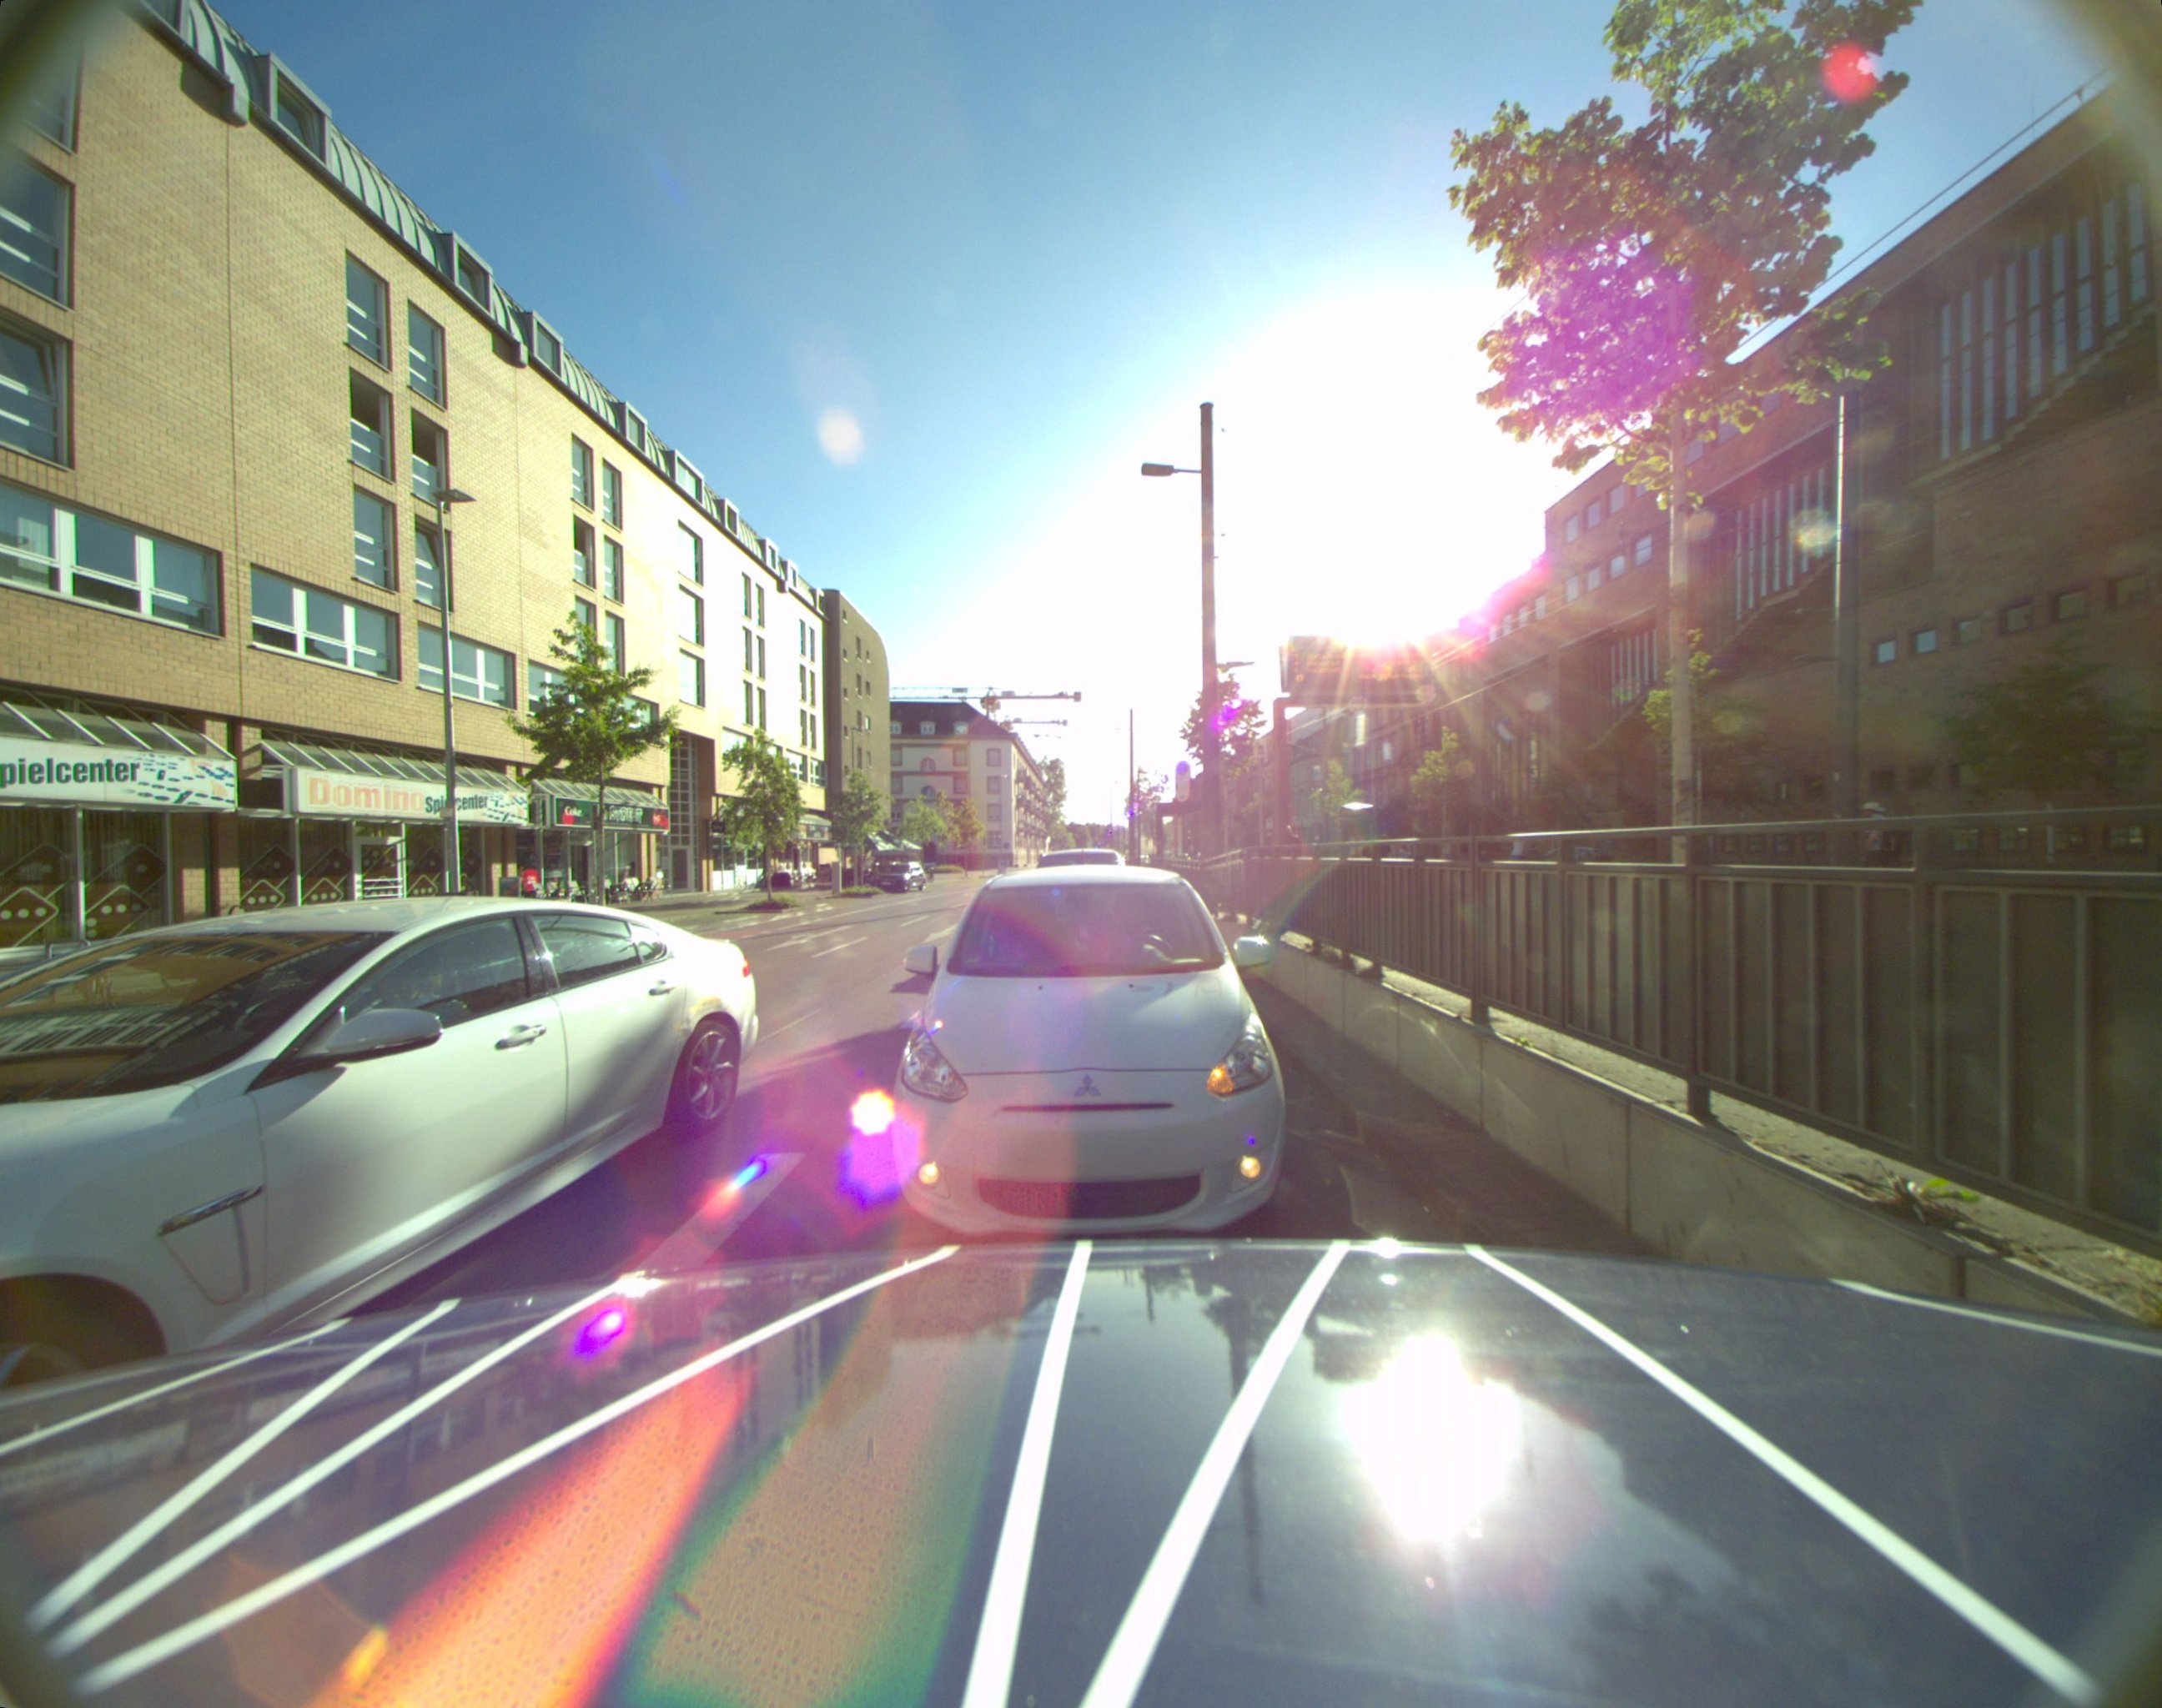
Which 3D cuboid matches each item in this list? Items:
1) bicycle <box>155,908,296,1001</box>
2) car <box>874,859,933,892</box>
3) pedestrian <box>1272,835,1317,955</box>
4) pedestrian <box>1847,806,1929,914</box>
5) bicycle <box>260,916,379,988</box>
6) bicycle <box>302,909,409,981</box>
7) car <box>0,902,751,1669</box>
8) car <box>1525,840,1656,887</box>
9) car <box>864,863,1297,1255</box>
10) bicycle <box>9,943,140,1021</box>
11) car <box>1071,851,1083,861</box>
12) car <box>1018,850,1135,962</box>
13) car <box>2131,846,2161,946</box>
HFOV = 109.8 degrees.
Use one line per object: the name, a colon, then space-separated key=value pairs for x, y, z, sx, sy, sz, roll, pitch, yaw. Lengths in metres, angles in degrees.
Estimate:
bicycle: x=-12.319 y=1.422 z=10.948 sx=1.835 sy=1.156 sz=0.565 roll=1 pitch=2 yaw=15
car: x=-9.677 y=1.157 z=41.733 sx=1.778 sy=1.630 sz=4.002 roll=1 pitch=1 yaw=9
pedestrian: x=4.443 y=0.838 z=15.829 sx=0.684 sy=2.428 sz=0.626 roll=-2 pitch=2 yaw=-2
pedestrian: x=13.878 y=0.093 z=13.085 sx=0.685 sy=1.797 sz=0.668 roll=-2 pitch=2 yaw=0
bicycle: x=-12.020 y=1.529 z=11.989 sx=1.835 sy=0.980 sz=0.449 roll=1 pitch=2 yaw=15
bicycle: x=-11.911 y=1.477 z=12.471 sx=1.835 sy=1.050 sz=0.350 roll=1 pitch=2 yaw=15
car: x=-3.185 y=1.053 z=2.776 sx=1.807 sy=1.421 sz=4.453 roll=-1 pitch=0 yaw=3
car: x=18.221 y=0.297 z=27.442 sx=1.830 sy=1.559 sz=4.240 roll=0 pitch=1 yaw=-1
car: x=-0.002 y=0.869 z=5.228 sx=1.720 sy=1.422 sz=4.215 roll=-2 pitch=1 yaw=0
bicycle: x=-12.993 y=1.631 z=9.805 sx=1.772 sy=0.827 sz=0.366 roll=1 pitch=2 yaw=15
car: x=-0.773 y=0.356 z=142.716 sx=2.164 sy=1.904 sz=4.472 roll=-2 pitch=0 yaw=0
car: x=-0.068 y=0.791 z=13.733 sx=1.720 sy=1.591 sz=4.215 roll=-2 pitch=1 yaw=0
car: x=17.797 y=0.682 z=9.820 sx=1.830 sy=1.559 sz=4.692 roll=0 pitch=1 yaw=-3
